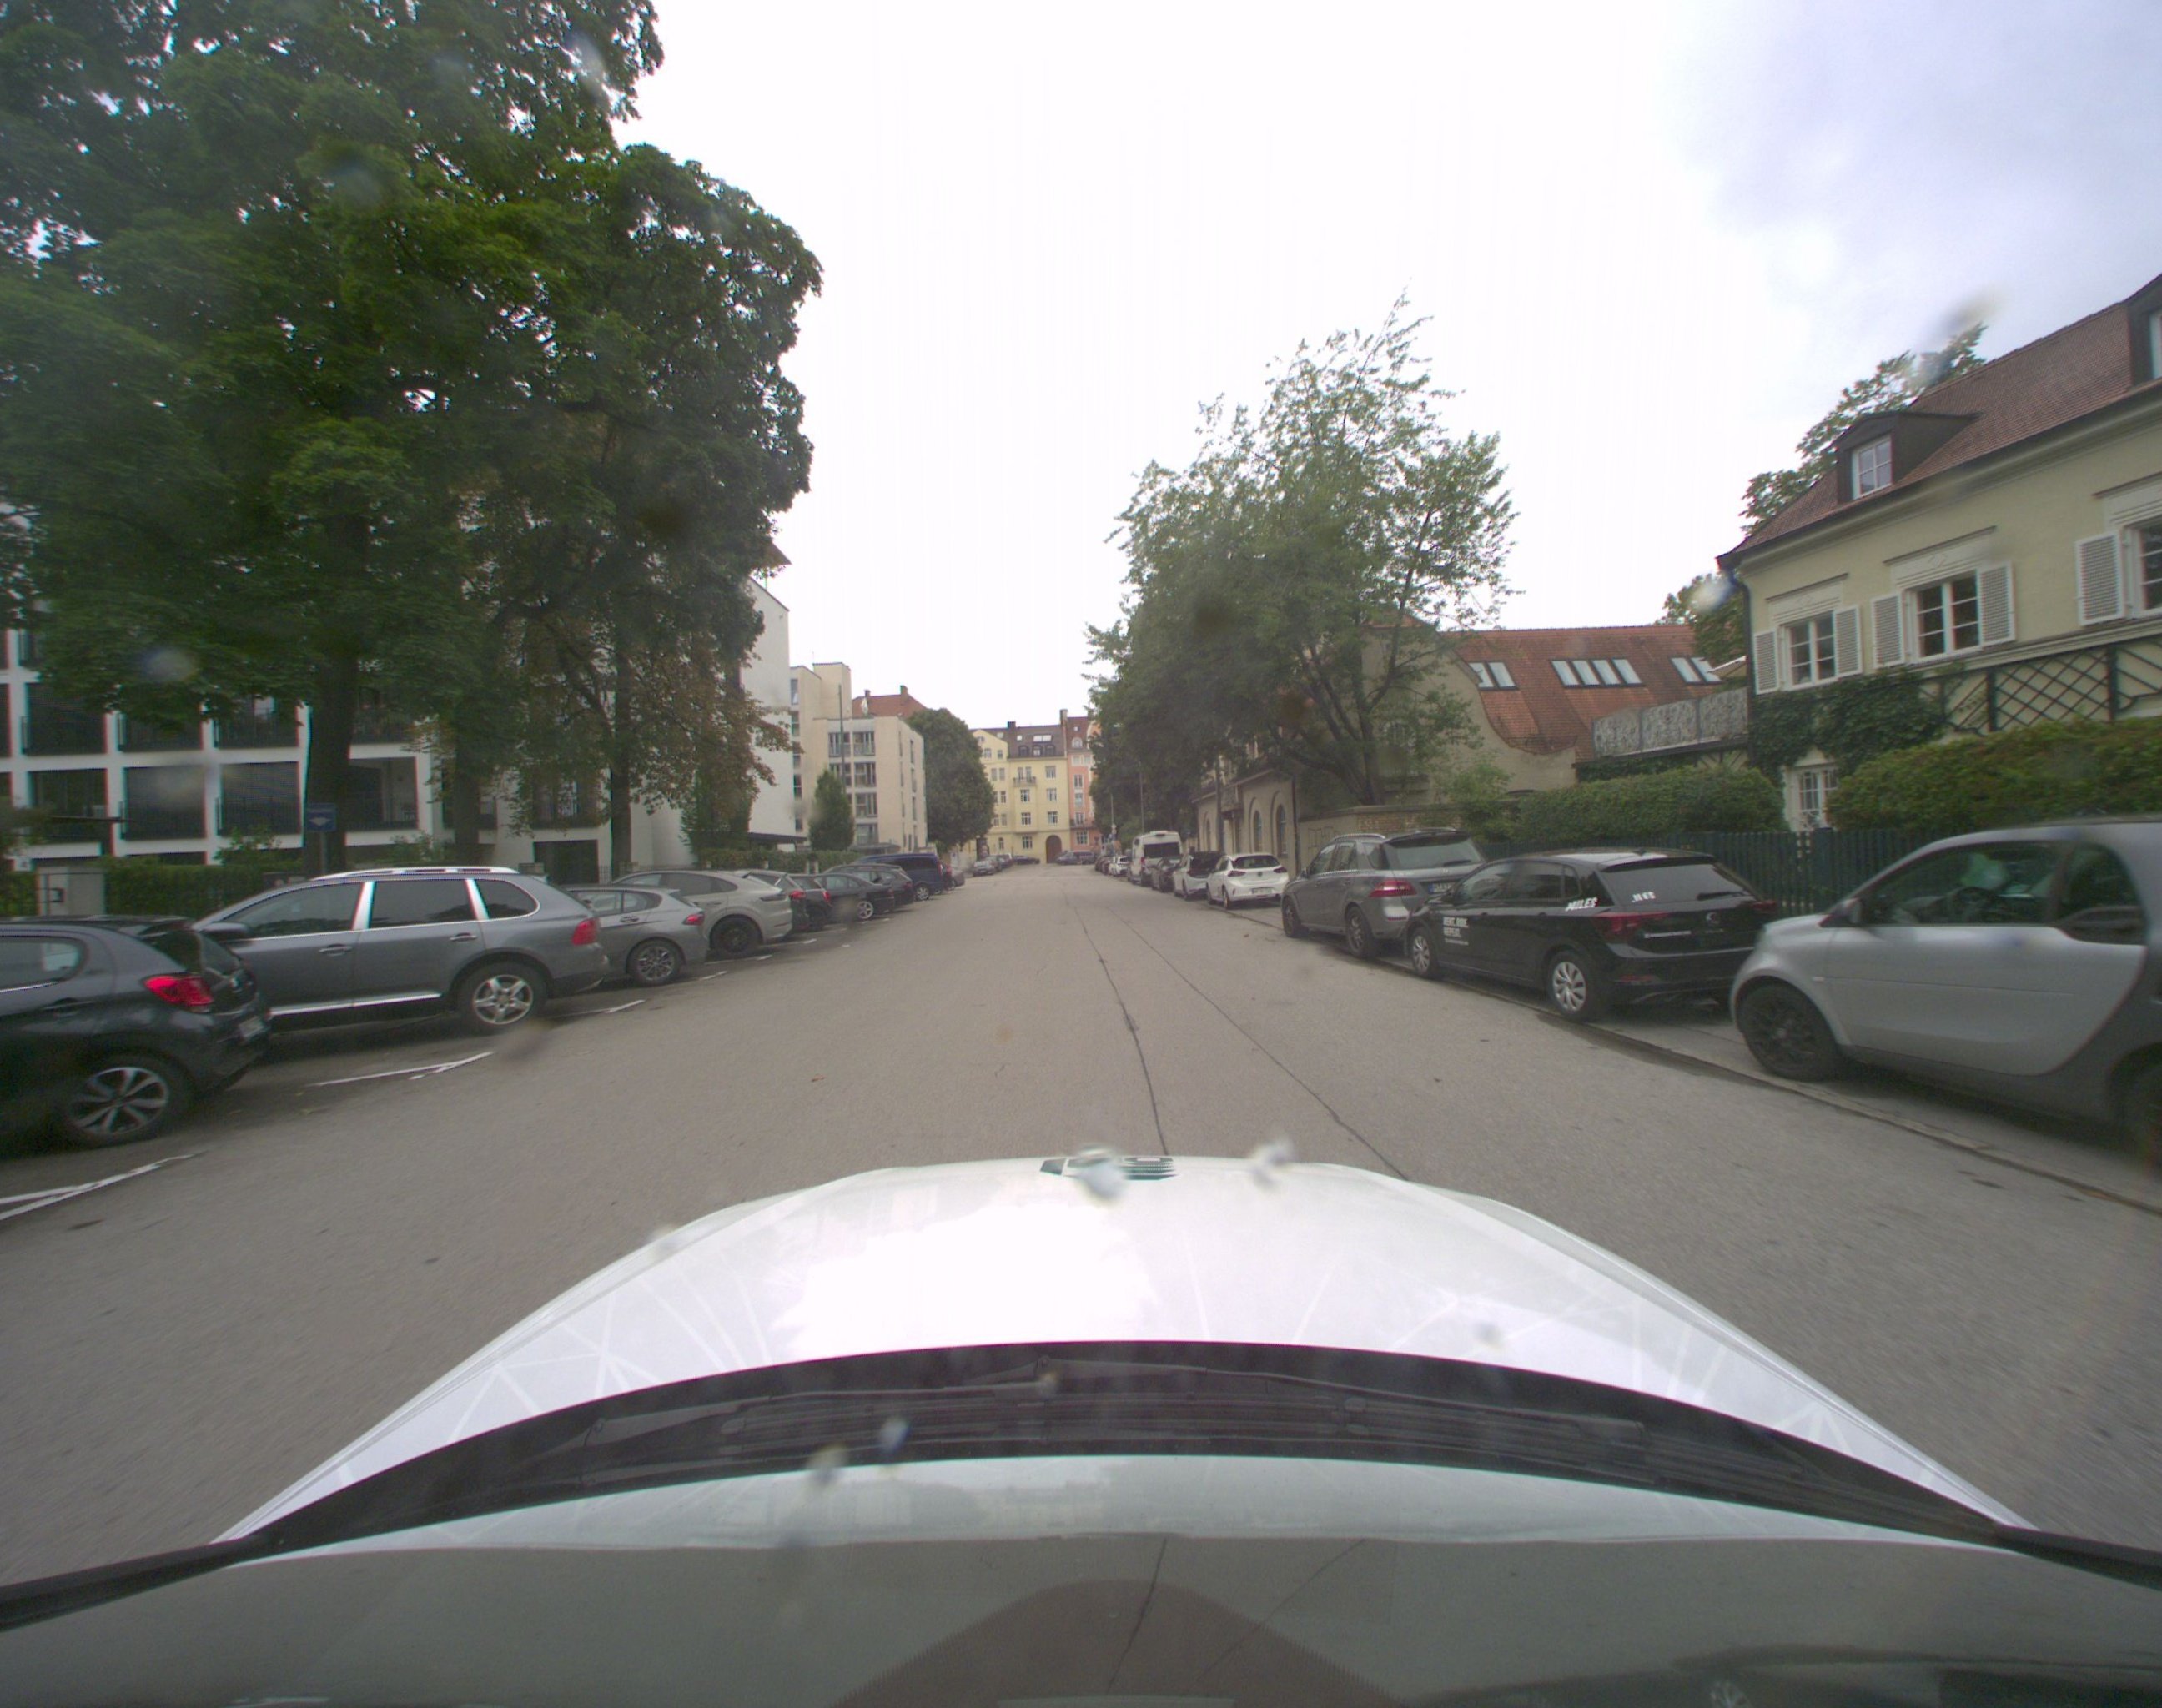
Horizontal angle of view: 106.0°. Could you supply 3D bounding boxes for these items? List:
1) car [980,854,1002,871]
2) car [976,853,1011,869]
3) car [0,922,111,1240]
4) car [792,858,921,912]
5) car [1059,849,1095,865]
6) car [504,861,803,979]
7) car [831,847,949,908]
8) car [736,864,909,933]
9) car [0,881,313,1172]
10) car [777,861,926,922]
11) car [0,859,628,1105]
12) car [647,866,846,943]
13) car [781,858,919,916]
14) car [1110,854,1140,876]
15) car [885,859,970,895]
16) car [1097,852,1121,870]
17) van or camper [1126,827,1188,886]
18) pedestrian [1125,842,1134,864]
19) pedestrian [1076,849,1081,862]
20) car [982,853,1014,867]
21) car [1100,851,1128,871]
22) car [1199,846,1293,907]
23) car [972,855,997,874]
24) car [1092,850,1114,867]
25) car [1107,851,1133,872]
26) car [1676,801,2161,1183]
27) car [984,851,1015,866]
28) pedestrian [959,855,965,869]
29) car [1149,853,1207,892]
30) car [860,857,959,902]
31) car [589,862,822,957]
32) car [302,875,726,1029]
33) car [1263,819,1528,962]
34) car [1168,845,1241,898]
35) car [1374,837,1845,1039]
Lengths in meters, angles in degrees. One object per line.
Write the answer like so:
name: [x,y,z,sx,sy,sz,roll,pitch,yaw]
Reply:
car: [-9.602,0.894,86.733,1.829,1.508,3.998,-6,0,-1]
car: [-10.527,0.860,97.990,3.977,1.508,1.839,-6,0,-3]
car: [-6.967,1.177,2.669,4.429,1.439,1.945,-3,0,-33]
car: [-8.308,1.123,30.204,4.232,1.609,1.720,-4,0,-31]
car: [-0.522,0.384,108.403,4.694,1.880,1.838,-2,0,-4]
car: [-7.440,1.073,14.687,4.418,1.621,2.070,-3,0,-23]
car: [-7.702,0.921,33.019,4.232,2.066,1.720,-4,0,-31]
car: [-7.140,1.176,22.654,4.234,1.461,1.719,-4,0,-33]
car: [-7.846,1.115,4.859,4.431,1.629,1.945,-3,0,-34]
car: [-7.169,1.120,25.433,4.223,1.461,1.724,-4,0,-23]
car: [-7.295,1.036,8.336,4.431,1.699,2.114,-3,0,-34]
car: [-8.048,1.150,19.739,4.226,1.461,1.778,-3,0,-26]
car: [-7.930,1.092,27.981,4.228,1.609,1.722,-4,0,-27]
car: [3.126,0.760,58.765,1.703,1.408,4.126,-4,0,-3]
car: [-8.332,1.238,44.359,4.136,1.609,1.719,-4,0,-34]
car: [2.493,0.586,73.417,1.667,1.344,3.832,-4,2,-4]
van or camper: [3.655,0.096,40.426,2.187,2.550,5.723,-4,0,-2]
pedestrian: [4.462,-0.076,75.139,0.771,2.013,0.562,-2,0,-2]
pedestrian: [-0.290,0.147,104.422,0.463,1.657,0.571,-2,0,-7]
car: [-11.192,0.790,109.927,3.977,1.508,1.839,-6,0,-3]
car: [2.708,0.559,67.968,1.800,1.465,3.831,-4,2,-5]
car: [4.478,0.585,22.658,1.680,1.441,3.998,-4,0,-1]
car: [-8.968,0.958,75.905,1.829,1.508,3.998,-6,0,-1]
car: [2.101,0.427,78.321,1.667,1.344,3.832,-4,2,-4]
car: [3.018,0.578,63.704,1.702,1.466,3.836,-4,0,-1]
car: [5.188,0.533,4.310,1.736,1.536,2.941,-4,0,-4]
car: [-11.441,0.622,114.707,3.977,1.799,1.839,-6,0,-3]
pedestrian: [-13.976,0.930,95.691,0.569,1.657,0.464,-2,0,-2]
car: [3.918,0.718,33.570,1.702,1.369,4.438,-4,0,-1]
car: [-8.021,1.174,38.152,4.135,1.708,1.719,-4,0,-32]
car: [-7.883,1.095,17.370,4.226,1.598,1.870,-3,0,-26]
car: [-7.522,1.175,11.315,4.430,1.491,1.996,-3,0,-34]
car: [4.670,0.466,13.073,1.990,1.711,4.877,-4,0,-4]
car: [4.119,0.537,27.784,1.702,1.537,4.238,-5,0,-1]
car: [4.894,0.640,8.438,1.874,1.427,4.216,-4,0,-4]
